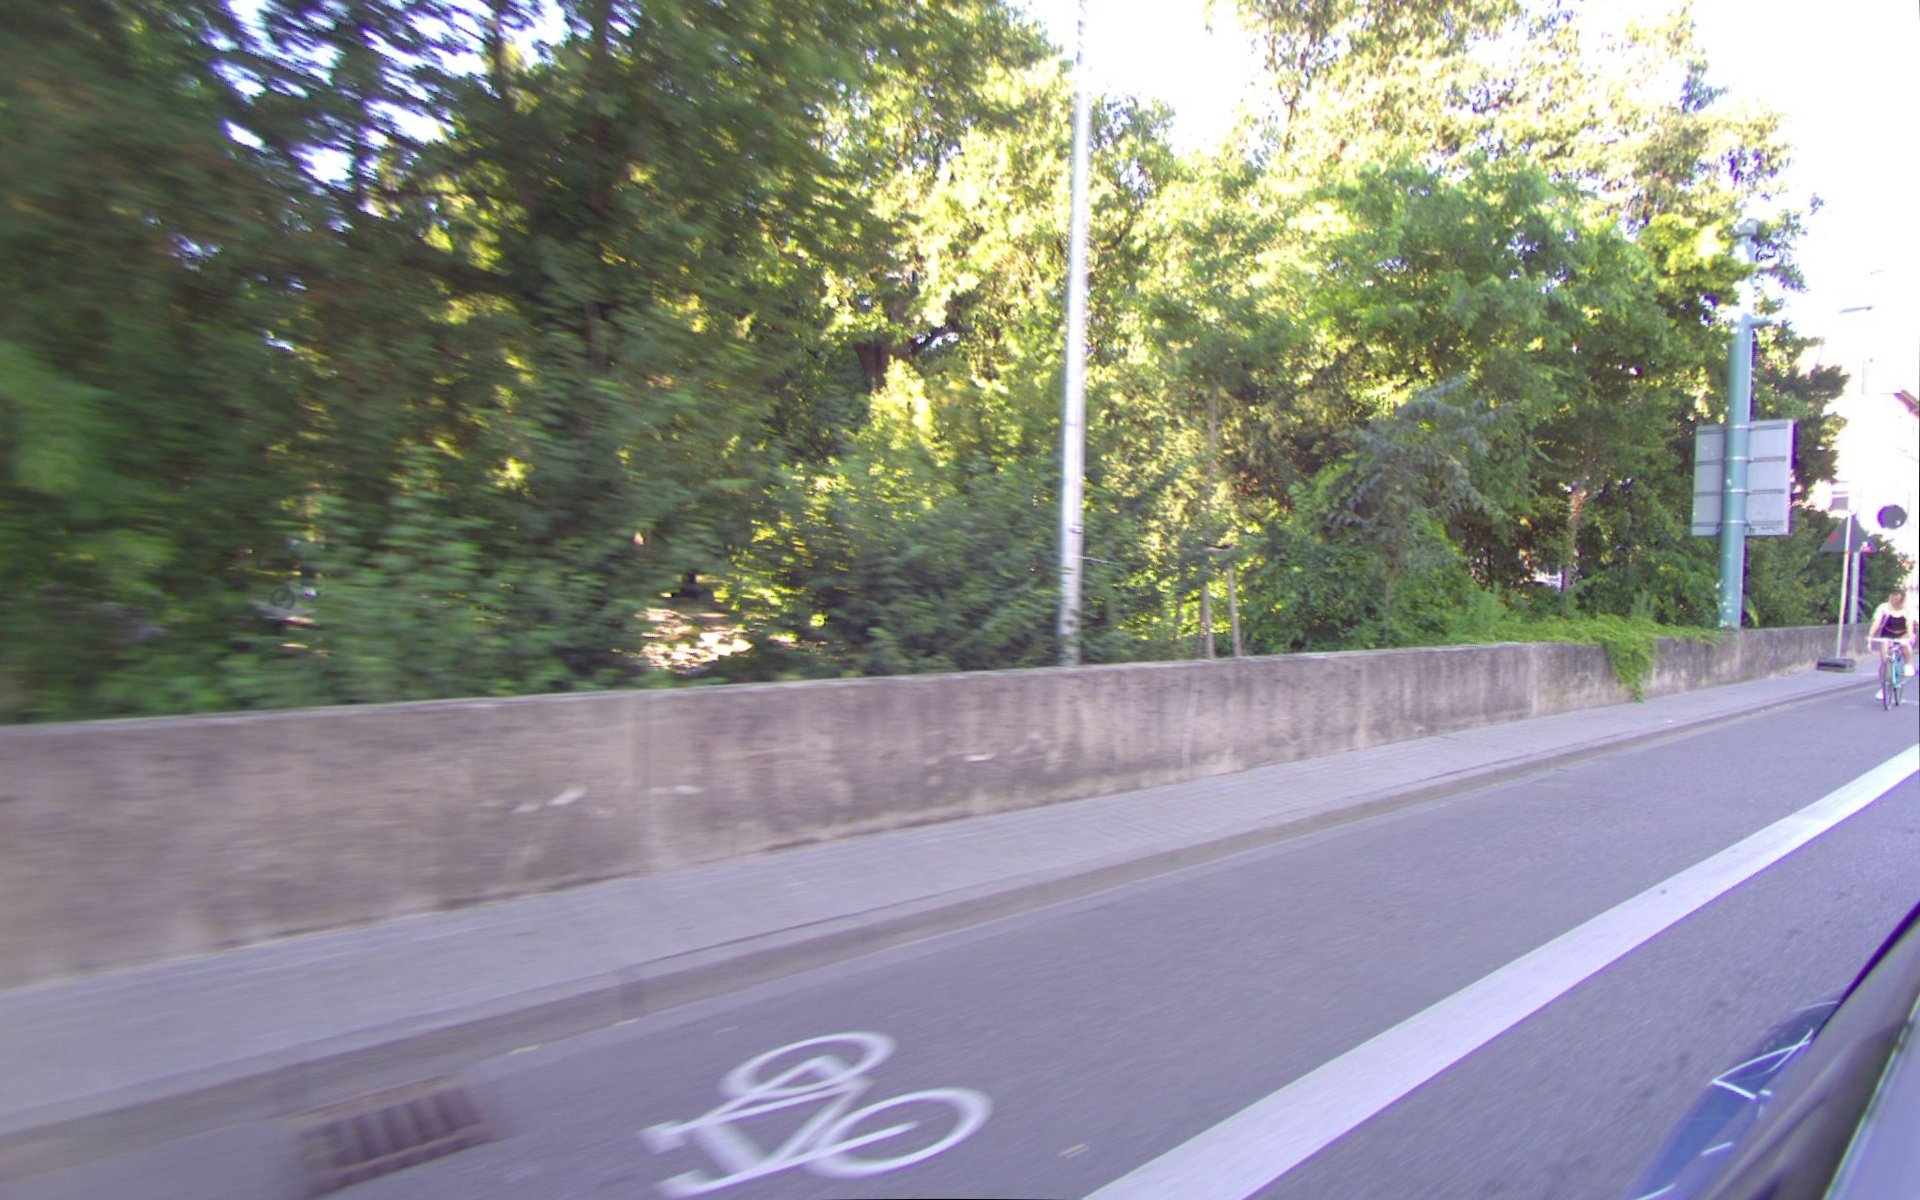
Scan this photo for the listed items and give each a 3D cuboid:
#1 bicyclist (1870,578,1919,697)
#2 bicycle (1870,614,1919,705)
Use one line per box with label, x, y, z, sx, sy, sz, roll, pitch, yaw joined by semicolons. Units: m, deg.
bicyclist;12.516;0.479;13.353;1.062;1.509;0.554;1;2;-39
bicycle;12.505;0.748;13.312;1.809;1.111;0.521;0;-1;-39
